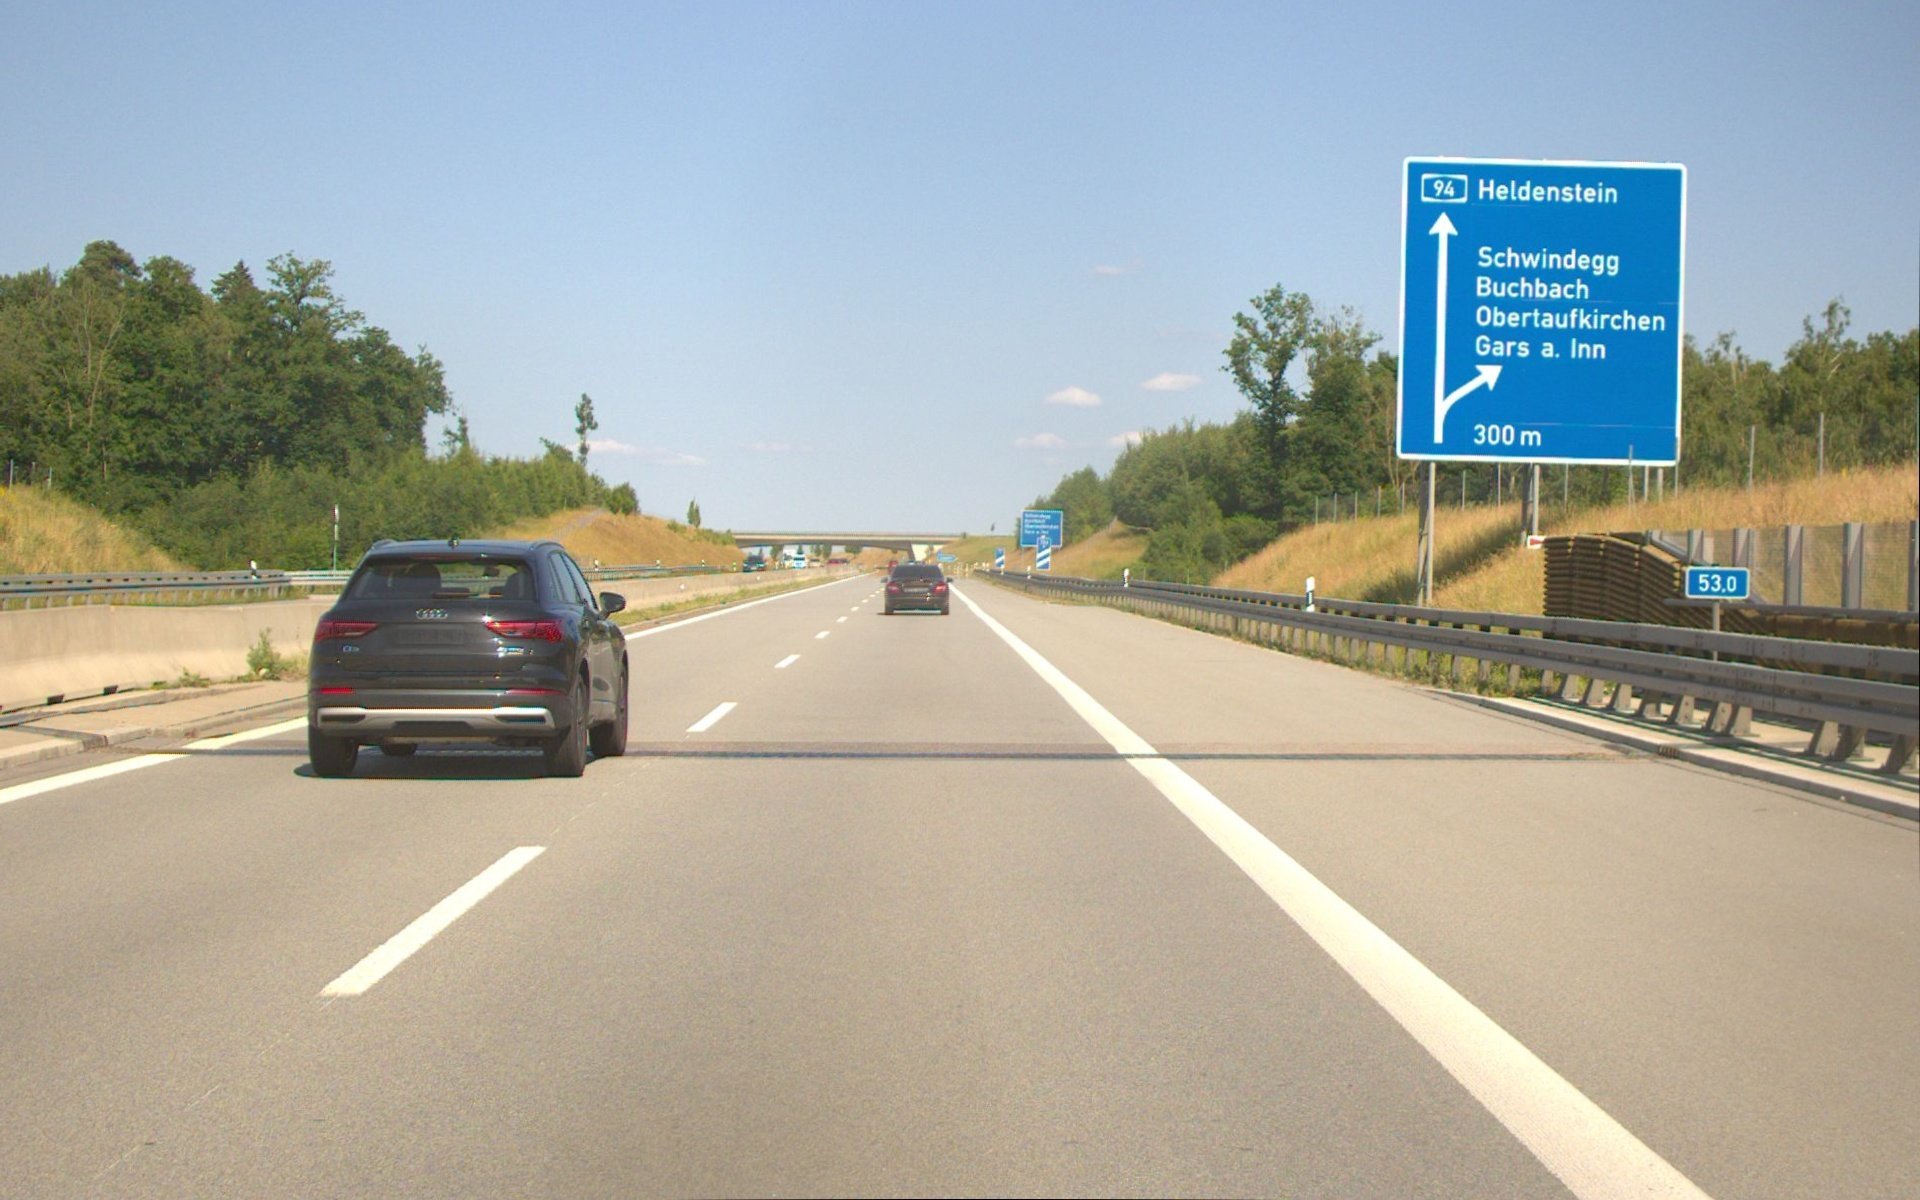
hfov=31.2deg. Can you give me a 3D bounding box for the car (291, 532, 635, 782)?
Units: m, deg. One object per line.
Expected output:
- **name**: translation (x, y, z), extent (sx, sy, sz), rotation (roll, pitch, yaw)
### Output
- **car**: translation (-3.428, 0.328, 24.623), extent (1.722, 1.582, 5.222), rotation (1, 1, 0)

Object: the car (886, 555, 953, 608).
- **car**: translation (-1.096, -0.530, 94.265), extent (1.790, 1.369, 3.917), rotation (1, 1, 0)
